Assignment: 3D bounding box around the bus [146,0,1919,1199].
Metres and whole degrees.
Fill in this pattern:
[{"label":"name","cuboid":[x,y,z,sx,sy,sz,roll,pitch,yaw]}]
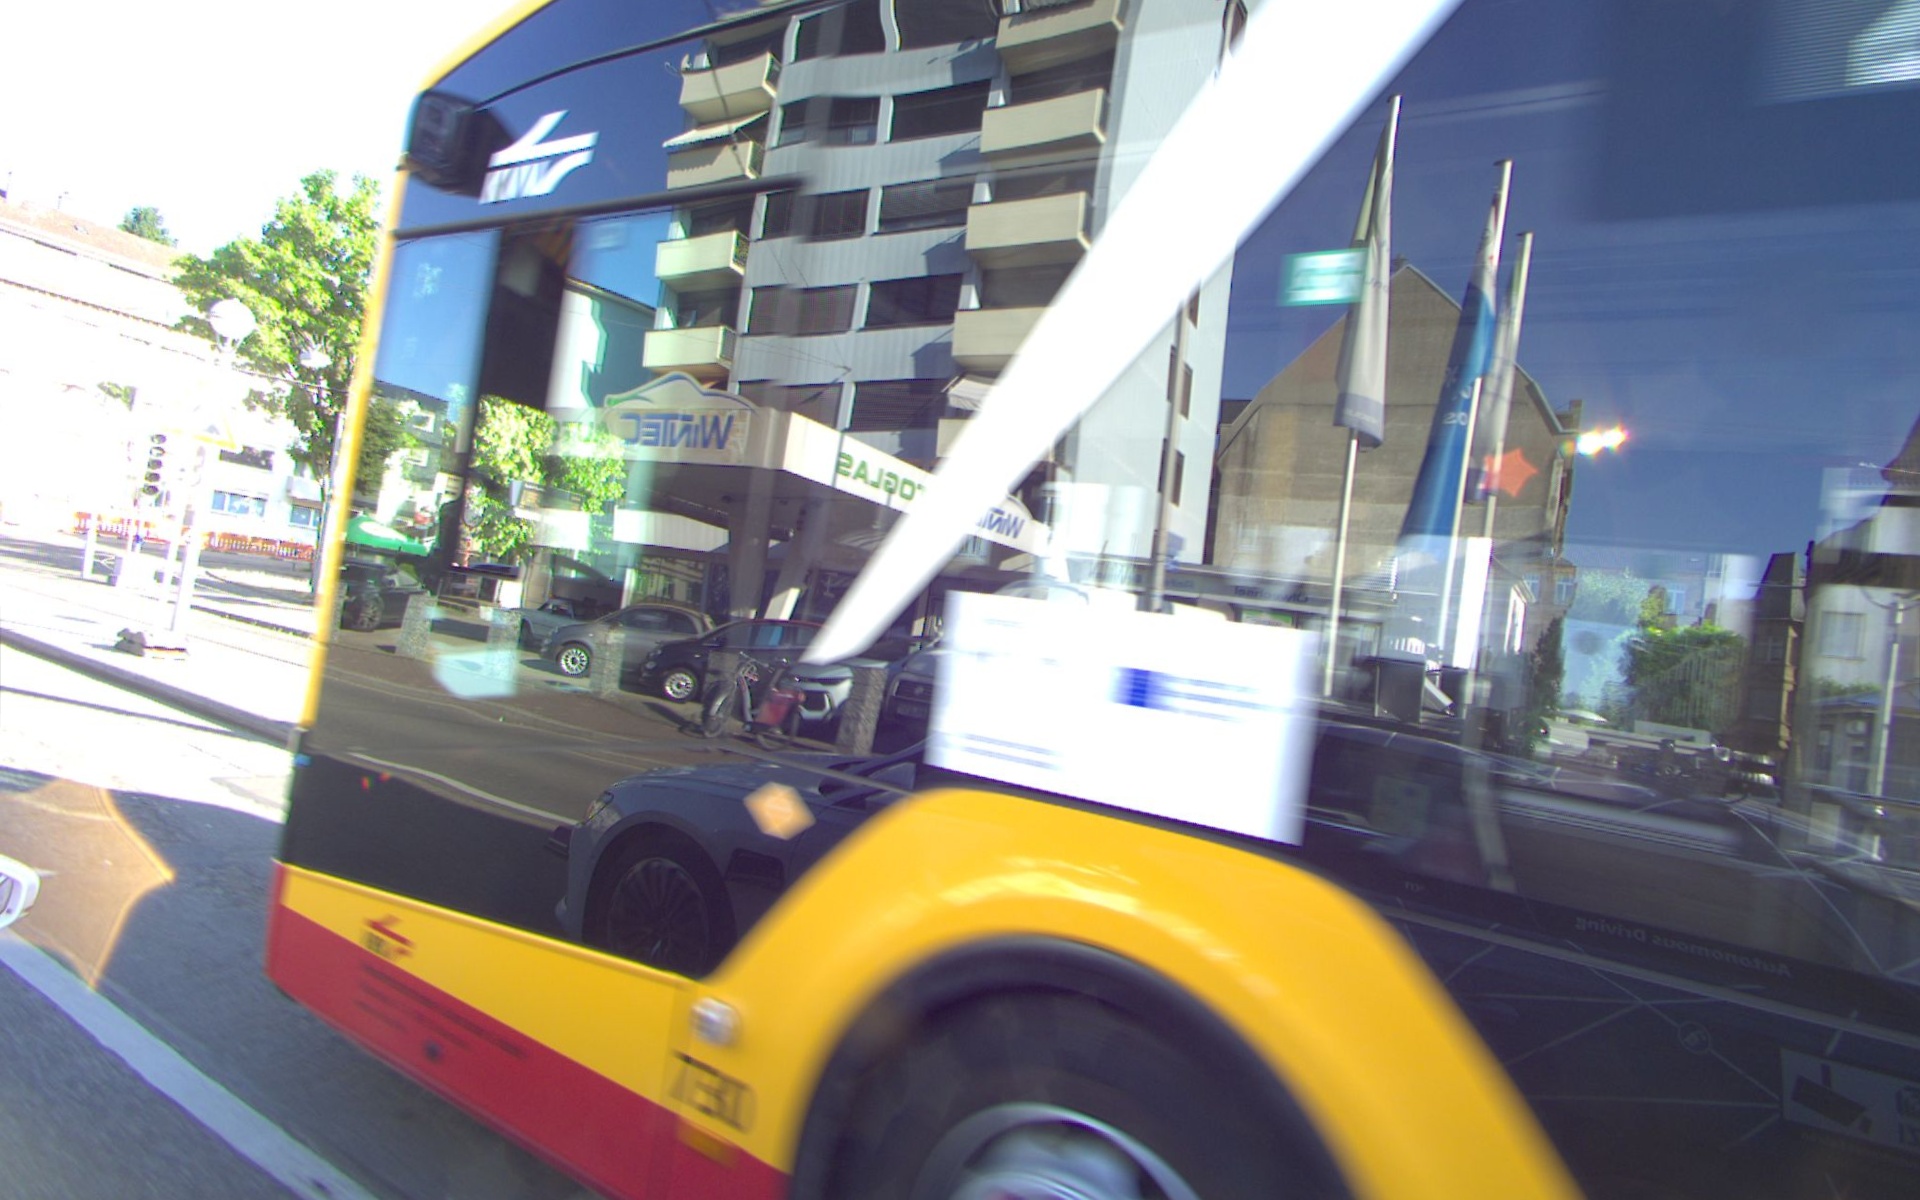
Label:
[{"label":"bus","cuboid":[3.640,0.308,0.968,11.816,3.455,2.695,7,-2,31]}]
